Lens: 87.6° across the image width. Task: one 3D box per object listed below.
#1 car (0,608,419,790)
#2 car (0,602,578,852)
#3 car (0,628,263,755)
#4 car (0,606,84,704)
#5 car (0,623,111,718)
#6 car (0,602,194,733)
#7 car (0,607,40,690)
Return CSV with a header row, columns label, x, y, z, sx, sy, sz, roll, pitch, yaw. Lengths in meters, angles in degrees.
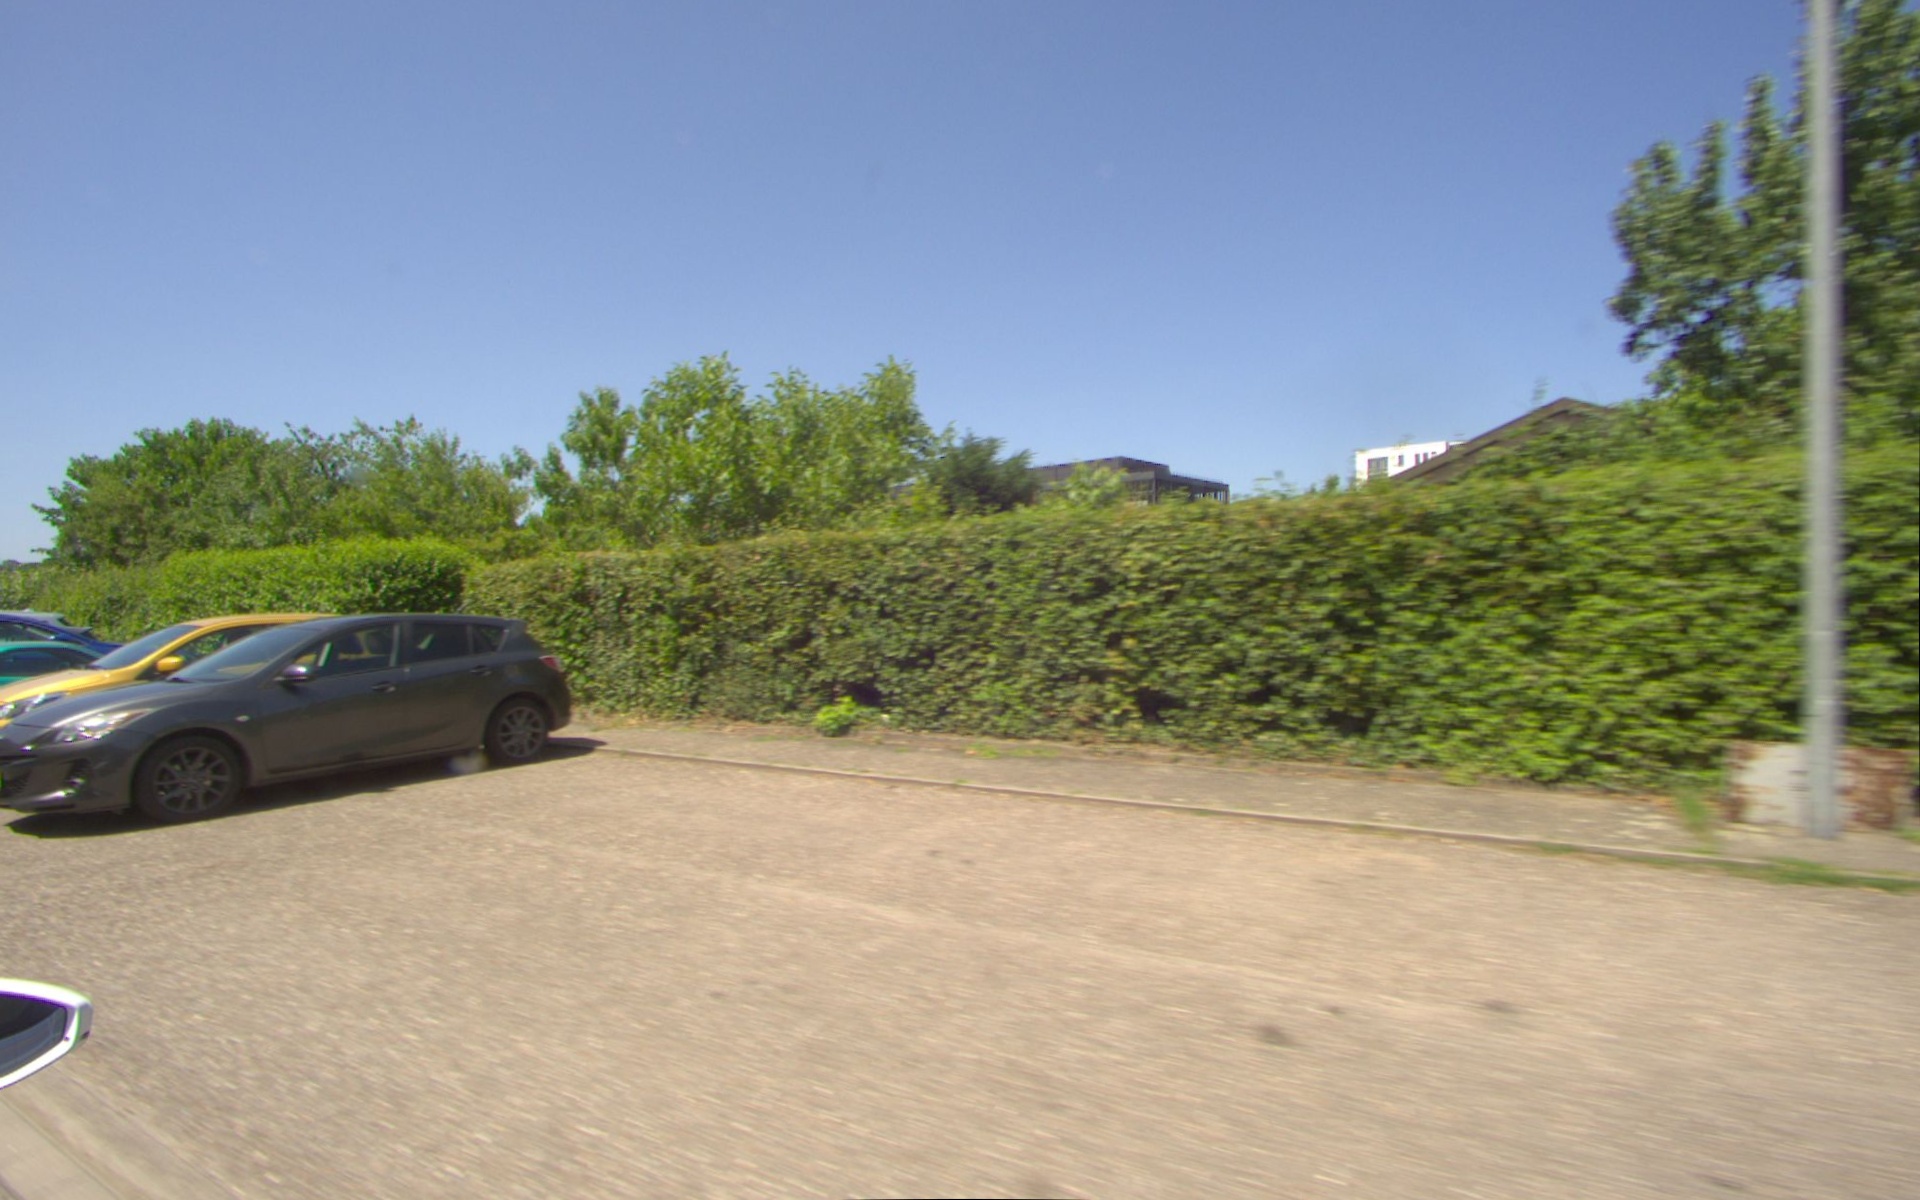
label,x,y,z,sx,sy,sz,roll,pitch,yaw
car,-8.110,0.891,10.606,1.750,1.474,3.791,-1,1,33
car,-5.712,0.841,8.691,1.856,1.515,4.153,-1,1,33
car,-10.860,1.071,12.050,1.606,1.285,3.723,-1,1,35
car,-17.816,0.975,16.898,1.873,1.675,4.227,-3,-2,32
car,-15.730,1.068,15.084,1.785,1.457,4.130,-1,-2,26
car,-13.191,0.905,13.465,1.797,1.656,4.227,-1,0,33
car,-21.015,0.998,19.614,1.861,1.679,4.114,-1,0,34
